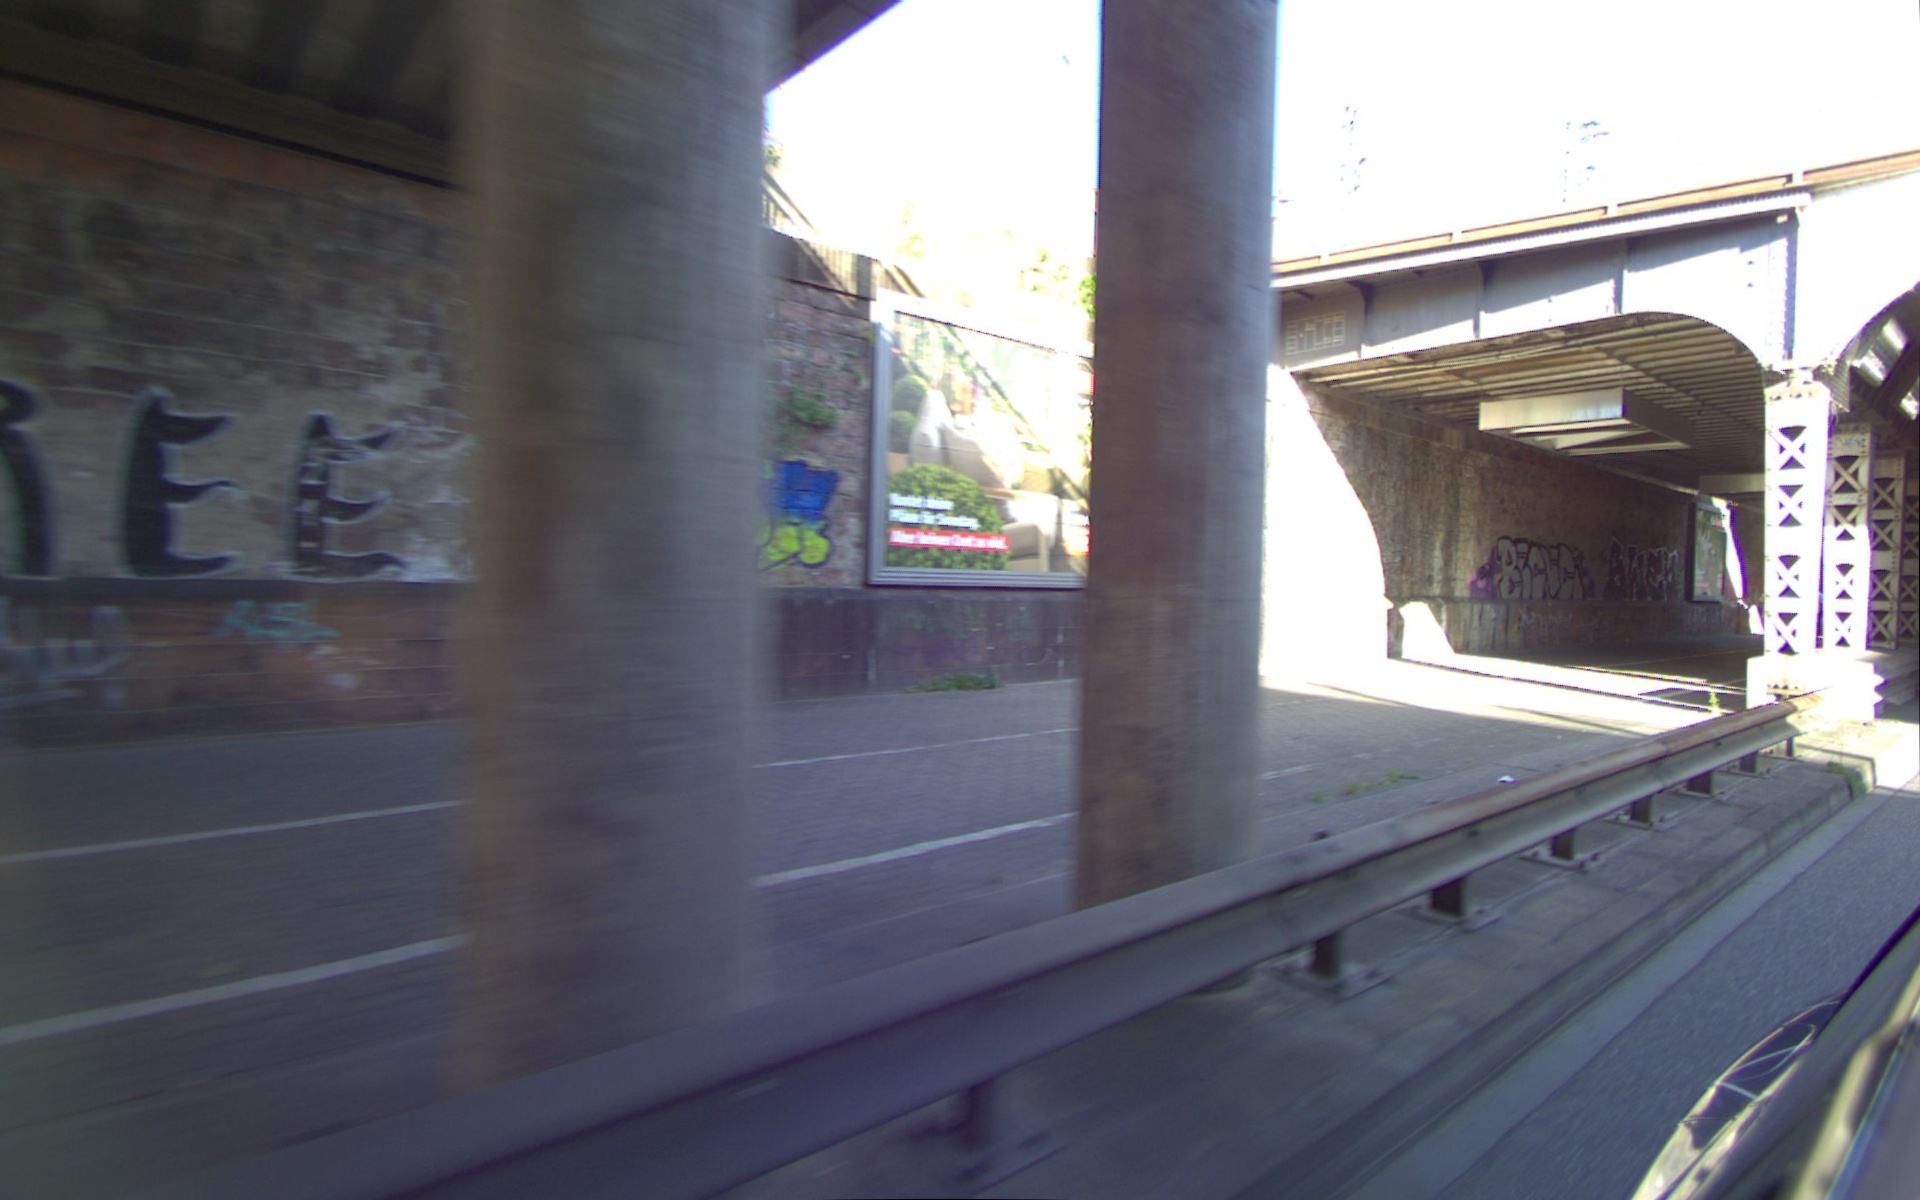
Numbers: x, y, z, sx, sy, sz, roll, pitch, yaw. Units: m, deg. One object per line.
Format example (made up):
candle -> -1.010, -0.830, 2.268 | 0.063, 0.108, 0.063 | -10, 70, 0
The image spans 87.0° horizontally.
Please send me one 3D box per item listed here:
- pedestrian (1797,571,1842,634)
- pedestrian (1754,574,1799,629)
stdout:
pedestrian -> 26.623, 0.068, 31.341 | 0.907, 1.857, 0.881 | 0, 3, -44
pedestrian -> 26.159, 0.035, 32.428 | 0.871, 1.676, 0.917 | 0, 3, -43
